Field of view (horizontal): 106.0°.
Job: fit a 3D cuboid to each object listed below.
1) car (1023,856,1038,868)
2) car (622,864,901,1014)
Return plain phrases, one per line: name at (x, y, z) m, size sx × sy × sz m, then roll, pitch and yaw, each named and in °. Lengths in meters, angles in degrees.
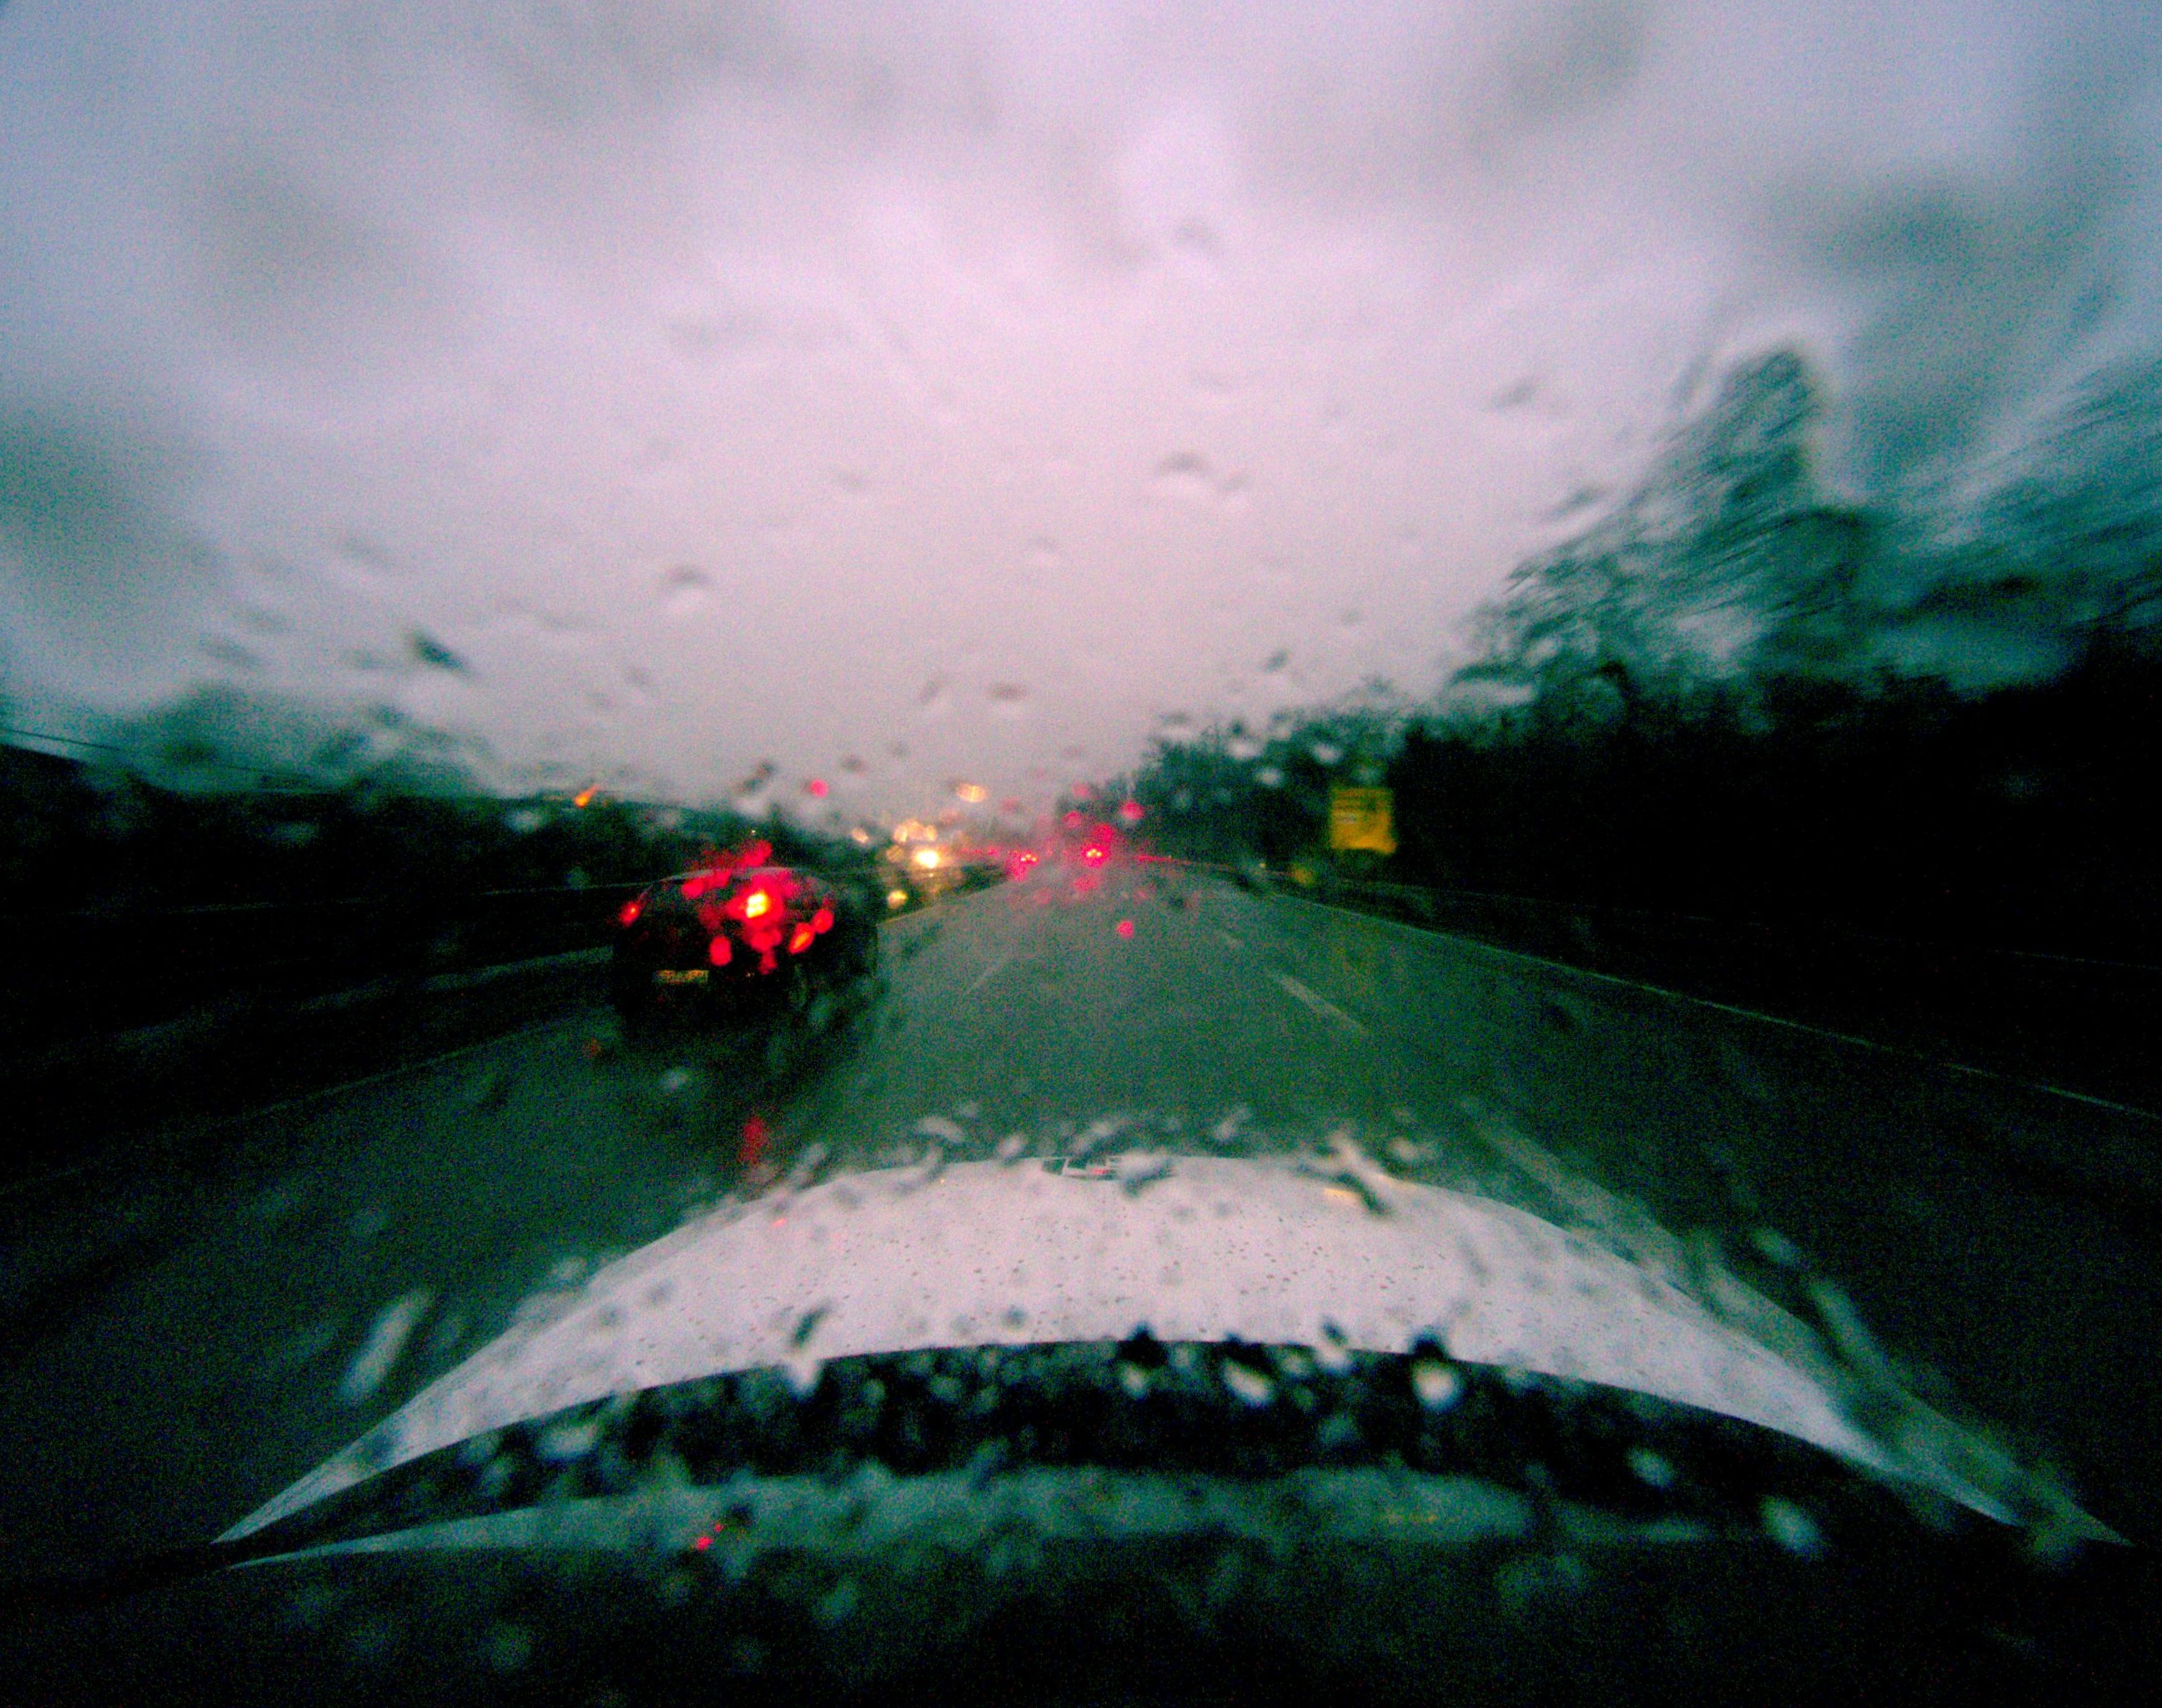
car at (-5.782, 0.882, 92.956) m, size 1.410 × 1.317 × 3.084 m, roll 1°, pitch 0°, yaw 2°
car at (-3.418, 0.820, 9.596) m, size 1.620 × 1.392 × 4.001 m, roll 0°, pitch -1°, yaw 1°
